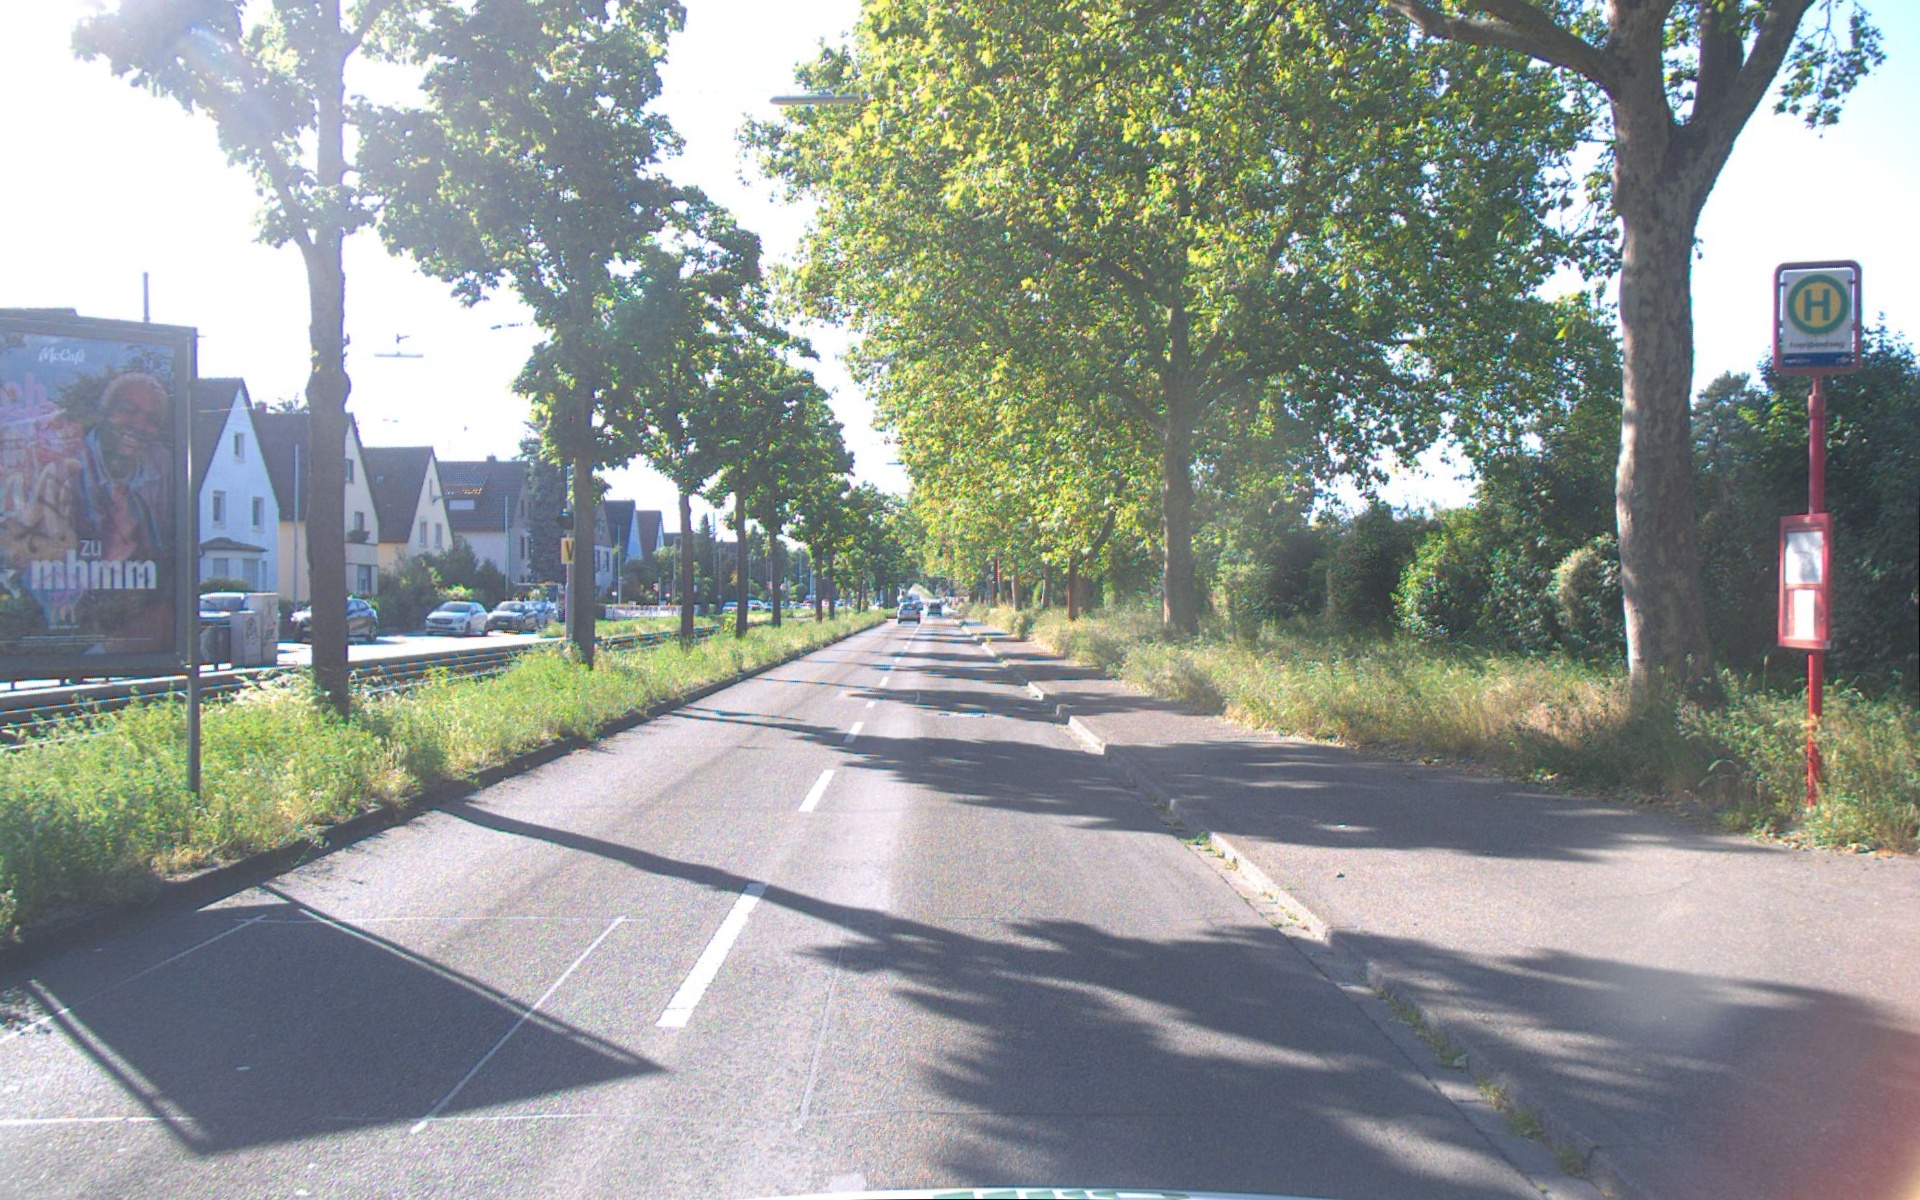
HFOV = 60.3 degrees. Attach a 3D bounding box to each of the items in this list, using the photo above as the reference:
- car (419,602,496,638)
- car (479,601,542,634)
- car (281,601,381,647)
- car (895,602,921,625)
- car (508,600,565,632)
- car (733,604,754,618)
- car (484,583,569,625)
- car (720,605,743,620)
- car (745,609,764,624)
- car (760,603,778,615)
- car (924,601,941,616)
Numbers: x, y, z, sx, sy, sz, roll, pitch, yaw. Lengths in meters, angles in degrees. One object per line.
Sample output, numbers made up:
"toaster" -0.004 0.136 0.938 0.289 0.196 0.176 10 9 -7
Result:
"car" -21.778 0.859 71.867 1.952 1.451 4.410 1 -1 1
"car" -21.973 0.861 80.945 1.953 1.475 4.126 3 -1 -1
"car" -21.942 0.828 57.840 1.887 1.521 4.255 1 -1 -1
"car" -3.691 0.964 117.773 1.822 1.629 4.226 1 -1 -1
"car" -21.920 0.810 85.727 1.907 1.581 4.055 1 -1 -1
"car" -23.354 1.189 178.527 1.694 1.491 4.601 1 -1 -1
"car" -27.937 0.231 106.675 4.926 2.671 2.102 0 0 -1
"car" -23.382 1.285 169.480 1.822 1.569 4.226 1 -1 -1
"car" -23.539 1.931 189.504 1.712 1.679 4.554 1 -1 -1
"car" -24.144 1.143 209.206 1.822 1.393 4.226 1 -1 -1
"car" -3.167 0.985 190.286 1.953 1.632 4.472 1 -1 -1
